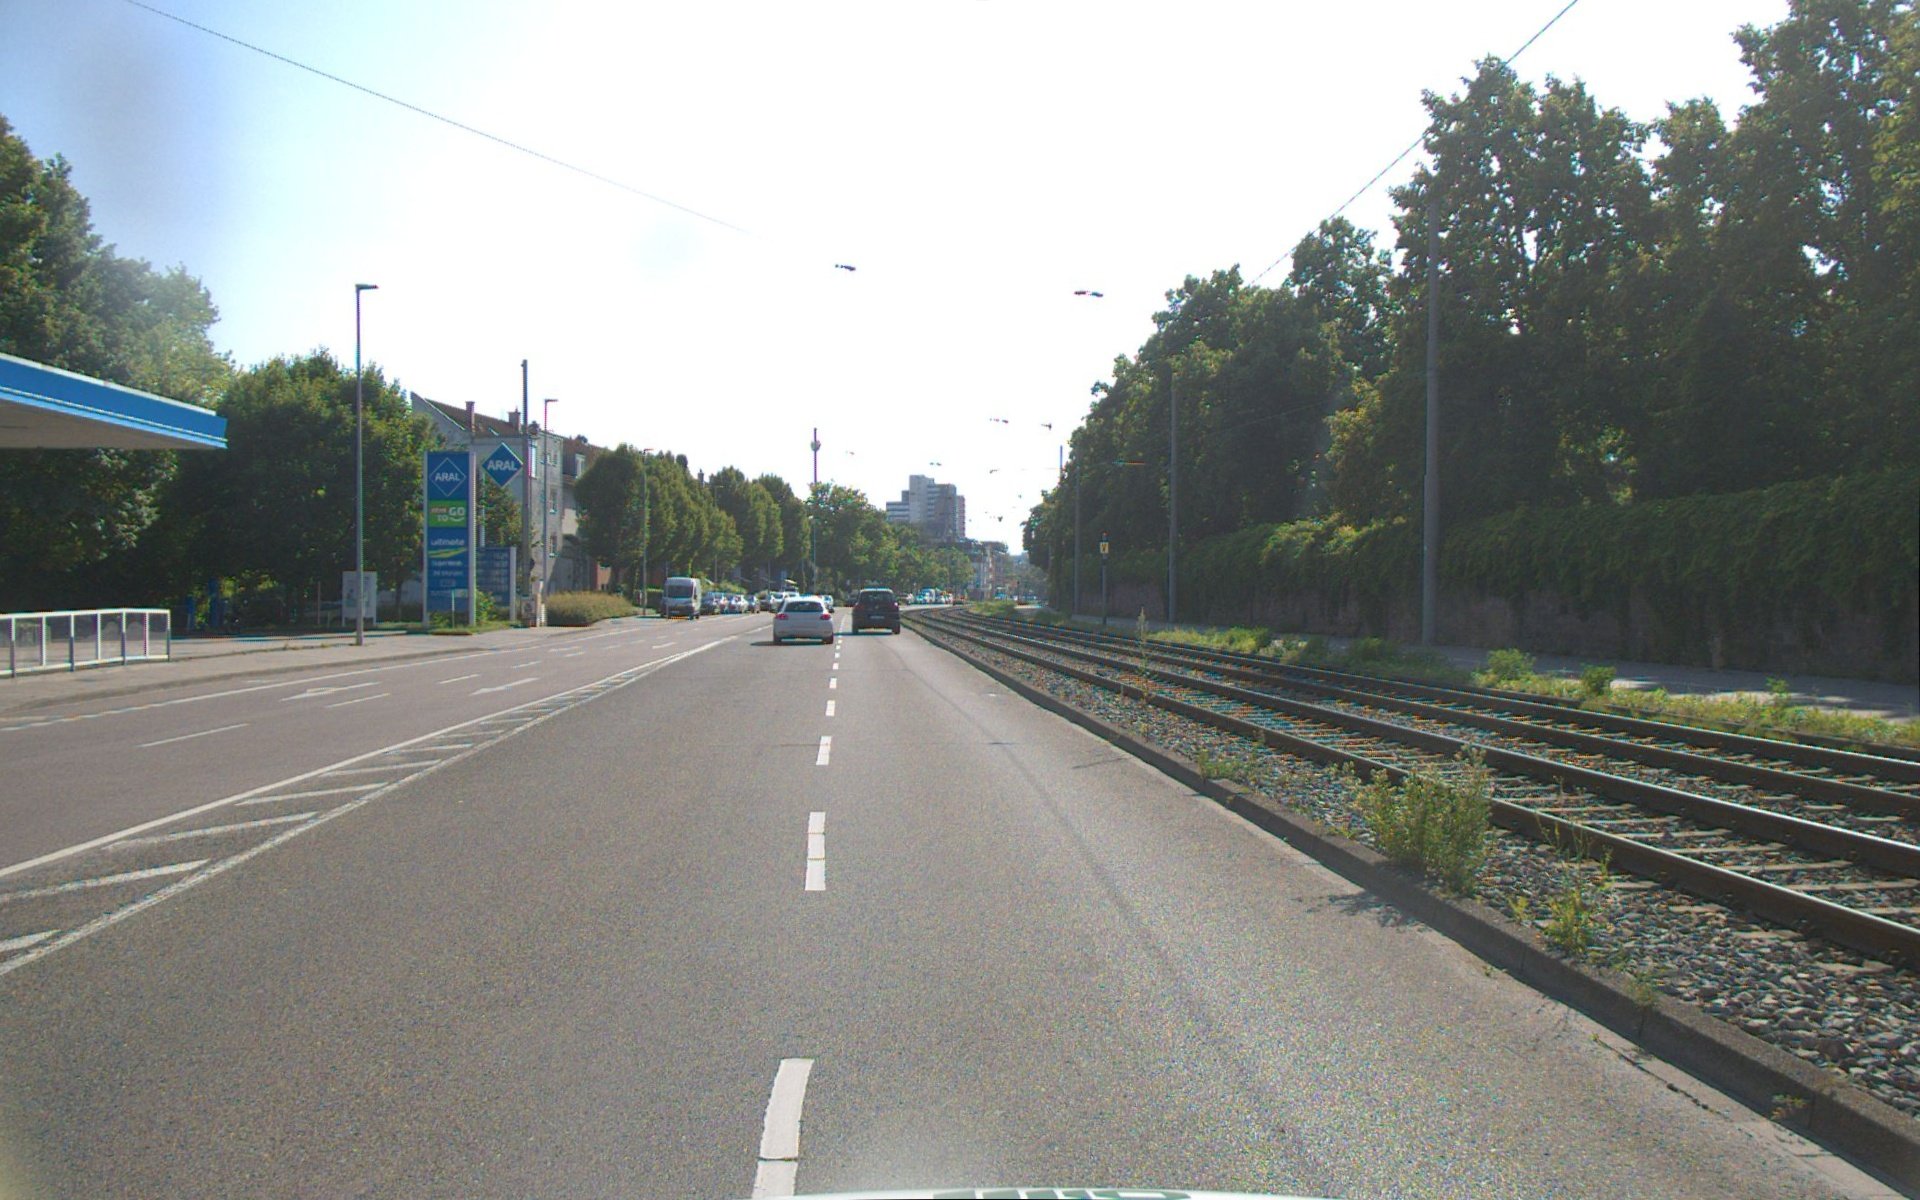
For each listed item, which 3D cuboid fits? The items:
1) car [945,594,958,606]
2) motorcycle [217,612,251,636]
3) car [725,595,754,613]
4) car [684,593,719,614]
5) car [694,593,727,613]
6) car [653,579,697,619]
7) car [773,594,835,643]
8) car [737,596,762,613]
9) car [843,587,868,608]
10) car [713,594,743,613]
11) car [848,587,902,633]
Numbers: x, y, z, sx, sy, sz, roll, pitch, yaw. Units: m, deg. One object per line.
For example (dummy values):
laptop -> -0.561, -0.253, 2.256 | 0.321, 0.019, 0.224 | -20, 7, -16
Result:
car -> -1.153, 0.028, 226.670 | 1.688, 1.620, 3.602 | 1, 0, 2
motorcycle -> -28.300, 0.929, 64.458 | 0.657, 0.917, 1.670 | -1, 0, -4
car -> -18.512, 0.337, 138.934 | 1.953, 1.441, 3.842 | -1, 0, -2
car -> -18.221, 0.210, 116.713 | 1.953, 1.441, 3.842 | -1, 0, -2
car -> -18.395, 0.231, 122.267 | 1.953, 1.441, 3.842 | -1, 0, -2
car -> -17.406, -0.074, 101.109 | 1.953, 2.418, 4.538 | -1, 0, -1
car -> -4.690, 0.534, 50.094 | 1.746, 1.380, 3.598 | 1, 0, -4
car -> -19.152, 0.415, 150.607 | 1.953, 1.441, 3.842 | -1, 0, -2
car -> -7.770, -0.202, 122.819 | 1.714, 1.511, 3.598 | 1, 0, -4
car -> -18.621, 0.251, 133.081 | 1.953, 1.441, 3.842 | -1, 0, -2
car -> -3.222, 0.351, 62.088 | 1.692, 1.620, 3.595 | 1, 0, -8
